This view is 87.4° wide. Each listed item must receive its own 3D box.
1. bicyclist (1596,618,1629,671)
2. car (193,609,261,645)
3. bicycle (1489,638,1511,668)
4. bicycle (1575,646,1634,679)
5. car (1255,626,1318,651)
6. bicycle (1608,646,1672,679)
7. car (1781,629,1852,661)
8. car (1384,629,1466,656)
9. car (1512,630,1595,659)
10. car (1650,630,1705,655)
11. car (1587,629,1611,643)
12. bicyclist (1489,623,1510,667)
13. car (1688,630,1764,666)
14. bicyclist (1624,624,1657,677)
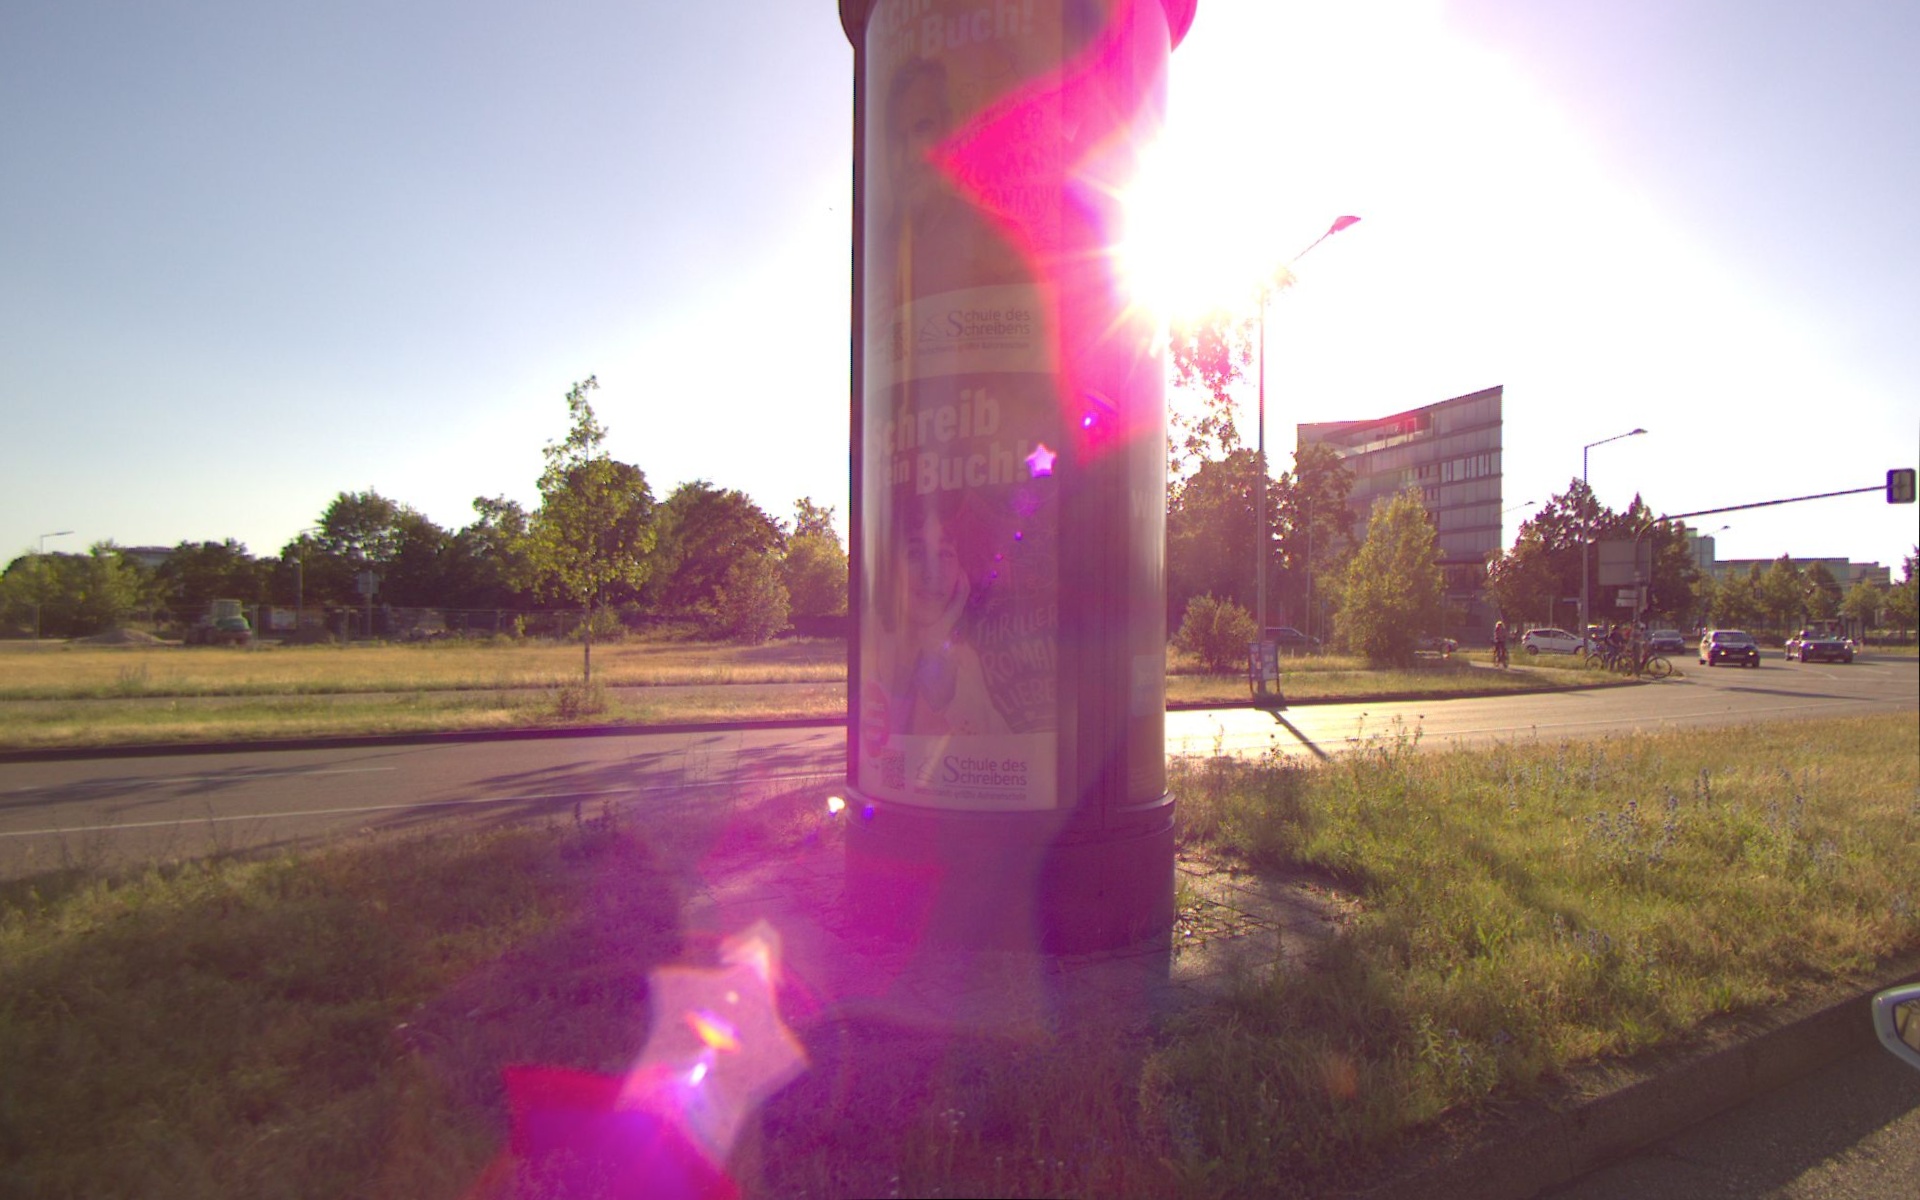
[{"bbox_3d":[22.591,1.547,34.794,0.488,1.794,0.813,1,0,-13],"label":"bicyclist"},{"bbox_3d":[-43.270,1.605,59.295,3.814,2.040,1.995,-1,-2,33],"label":"car"},{"bbox_3d":[21.227,2.063,39.475,0.713,1.133,1.820,0,-2,30],"label":"bicycle"},{"bbox_3d":[22.504,2.175,35.106,0.496,1.033,1.910,1,0,-13],"label":"bicycle"},{"bbox_3d":[20.183,2.365,62.057,3.635,1.528,1.876,0,-1,19],"label":"car"},{"bbox_3d":[23.849,2.182,35.272,0.497,1.033,1.905,1,0,-21],"label":"bicycle"},{"bbox_3d":[39.320,2.065,46.197,1.642,1.394,4.142,-2,-2,29],"label":"car"},{"bbox_3d":[27.314,2.485,59.167,4.223,1.528,1.876,0,-1,19],"label":"car"},{"bbox_3d":[33.058,2.439,55.980,3.909,1.528,1.843,-1,-2,34],"label":"car"},{"bbox_3d":[41.015,2.402,57.499,1.640,1.394,3.778,-1,-2,21],"label":"car"},{"bbox_3d":[94.831,5.321,149.101,1.960,2.040,4.001,0,-1,17],"label":"car"},{"bbox_3d":[21.137,1.747,39.338,0.697,1.688,0.829,0,-1,30],"label":"bicyclist"},{"bbox_3d":[32.393,2.001,42.565,1.640,1.460,3.614,-1,-2,23],"label":"car"},{"bbox_3d":[23.873,1.773,35.239,0.489,1.813,0.812,1,0,-20],"label":"bicyclist"}]
